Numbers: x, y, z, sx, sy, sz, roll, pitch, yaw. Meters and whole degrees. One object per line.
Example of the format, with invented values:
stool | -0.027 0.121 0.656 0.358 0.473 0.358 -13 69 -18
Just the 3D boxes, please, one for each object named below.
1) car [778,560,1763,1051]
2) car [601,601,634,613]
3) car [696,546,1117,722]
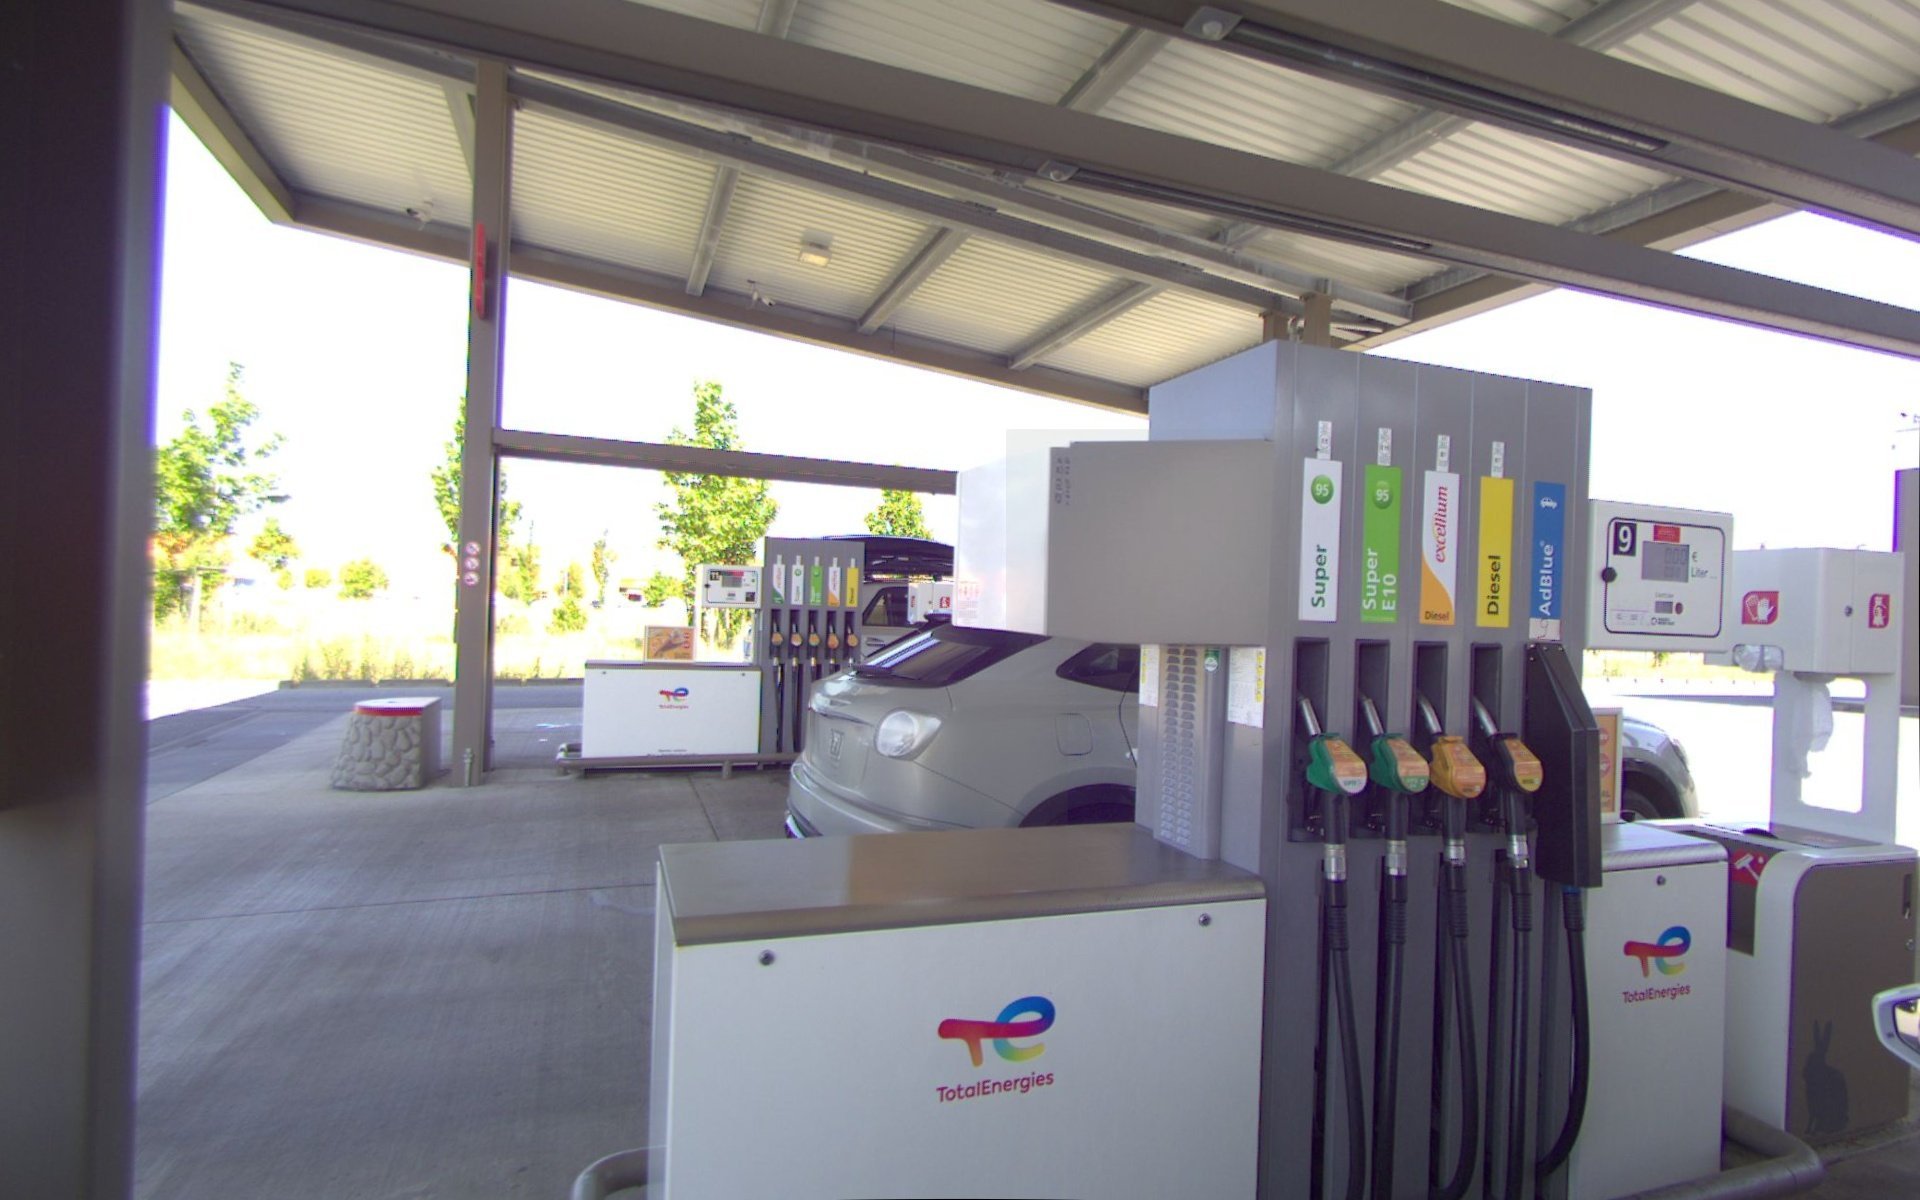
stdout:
car | 1.427 0.706 4.771 4.260 1.562 1.778 1 0 -20
car | -45.197 0.929 132.587 4.104 1.490 1.665 1 -1 -19
car | -0.601 0.384 11.557 4.473 1.710 1.854 1 0 -24
